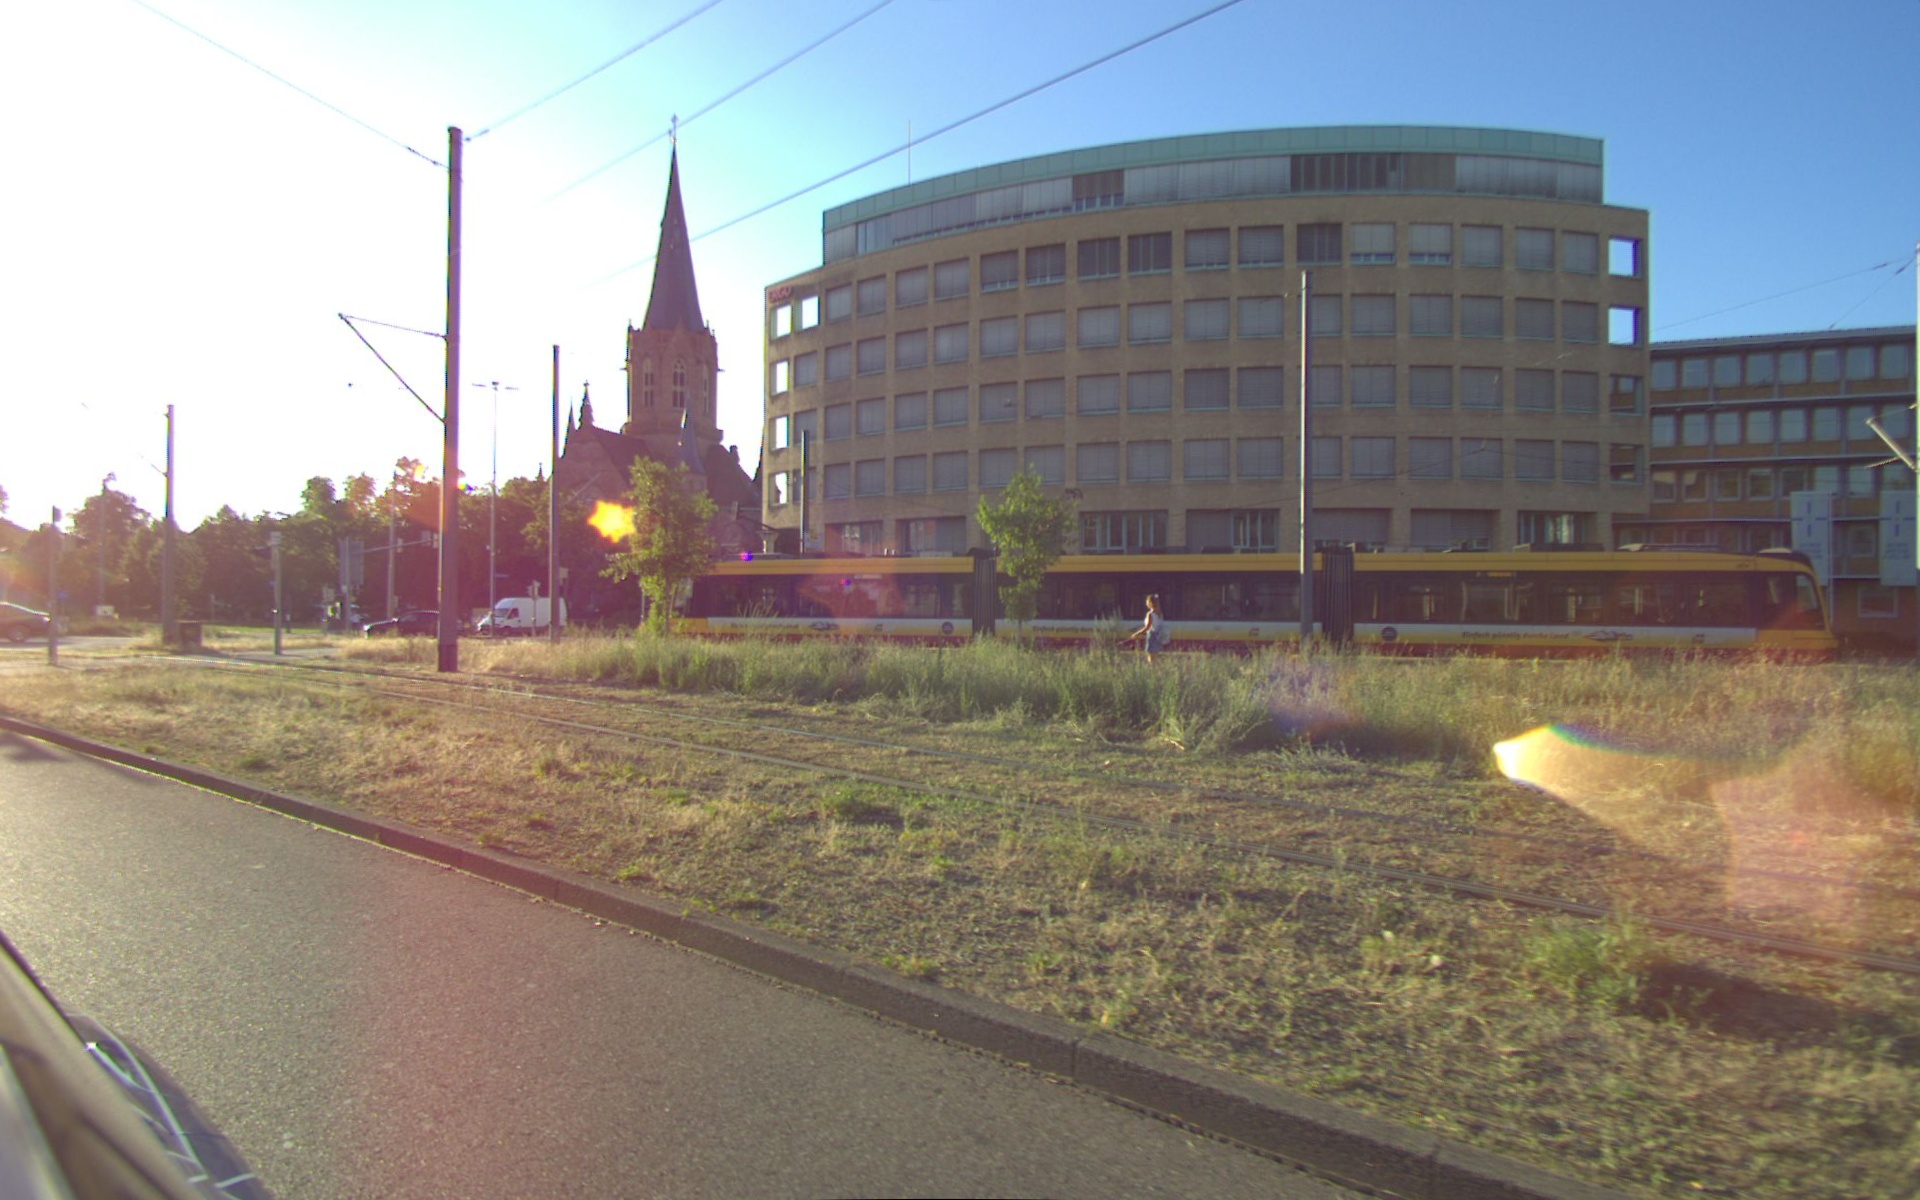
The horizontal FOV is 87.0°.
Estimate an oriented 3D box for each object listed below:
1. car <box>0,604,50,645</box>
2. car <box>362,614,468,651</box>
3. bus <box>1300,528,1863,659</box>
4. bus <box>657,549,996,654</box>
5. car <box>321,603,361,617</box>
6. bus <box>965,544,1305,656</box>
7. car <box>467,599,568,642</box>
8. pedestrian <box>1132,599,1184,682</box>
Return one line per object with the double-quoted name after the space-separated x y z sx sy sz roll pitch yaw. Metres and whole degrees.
-37.317 0.951 37.735 1.725 1.519 4.954 -1 0 44 "car"
-24.446 1.432 45.545 3.931 1.554 2.006 -1 0 -19 "car"
17.338 -0.091 29.977 13.594 3.388 3.740 -1 0 17 "bus"
-4.966 0.122 37.373 12.036 3.482 3.737 -1 0 19 "bus"
-83.416 1.361 136.428 4.067 1.835 2.003 -1 0 -7 "car"
5.786 0.061 33.711 10.647 3.356 3.739 -1 0 18 "bus"
-31.306 1.441 71.946 2.292 2.900 7.152 -1 -1 20 "car"
3.632 0.723 18.535 0.699 1.470 0.663 -1 -1 39 "pedestrian"
